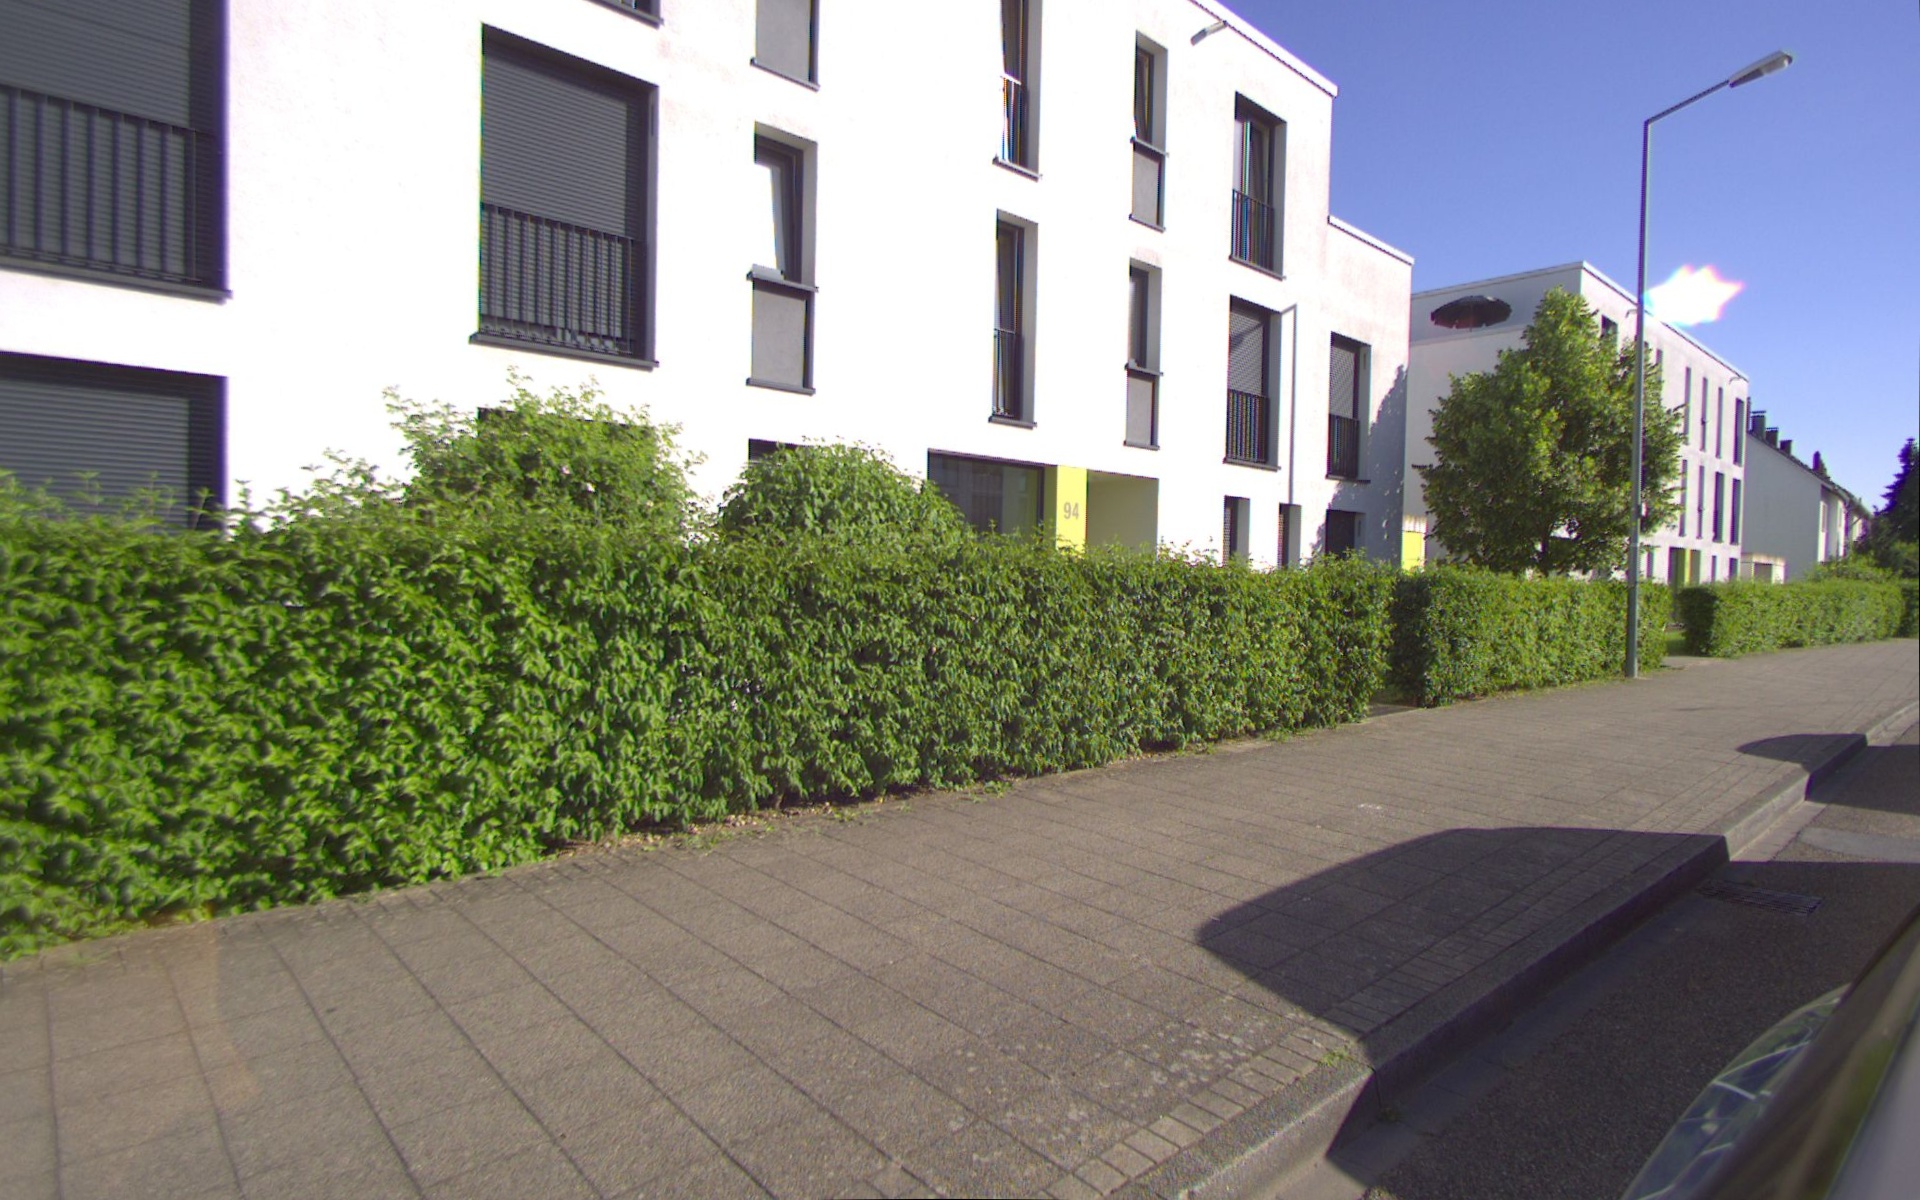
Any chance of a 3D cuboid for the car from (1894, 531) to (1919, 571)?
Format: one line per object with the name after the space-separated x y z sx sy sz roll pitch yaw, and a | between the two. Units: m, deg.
61.910 -3.113 64.236 6.066 2.376 3.181 -1 0 -40 | car
